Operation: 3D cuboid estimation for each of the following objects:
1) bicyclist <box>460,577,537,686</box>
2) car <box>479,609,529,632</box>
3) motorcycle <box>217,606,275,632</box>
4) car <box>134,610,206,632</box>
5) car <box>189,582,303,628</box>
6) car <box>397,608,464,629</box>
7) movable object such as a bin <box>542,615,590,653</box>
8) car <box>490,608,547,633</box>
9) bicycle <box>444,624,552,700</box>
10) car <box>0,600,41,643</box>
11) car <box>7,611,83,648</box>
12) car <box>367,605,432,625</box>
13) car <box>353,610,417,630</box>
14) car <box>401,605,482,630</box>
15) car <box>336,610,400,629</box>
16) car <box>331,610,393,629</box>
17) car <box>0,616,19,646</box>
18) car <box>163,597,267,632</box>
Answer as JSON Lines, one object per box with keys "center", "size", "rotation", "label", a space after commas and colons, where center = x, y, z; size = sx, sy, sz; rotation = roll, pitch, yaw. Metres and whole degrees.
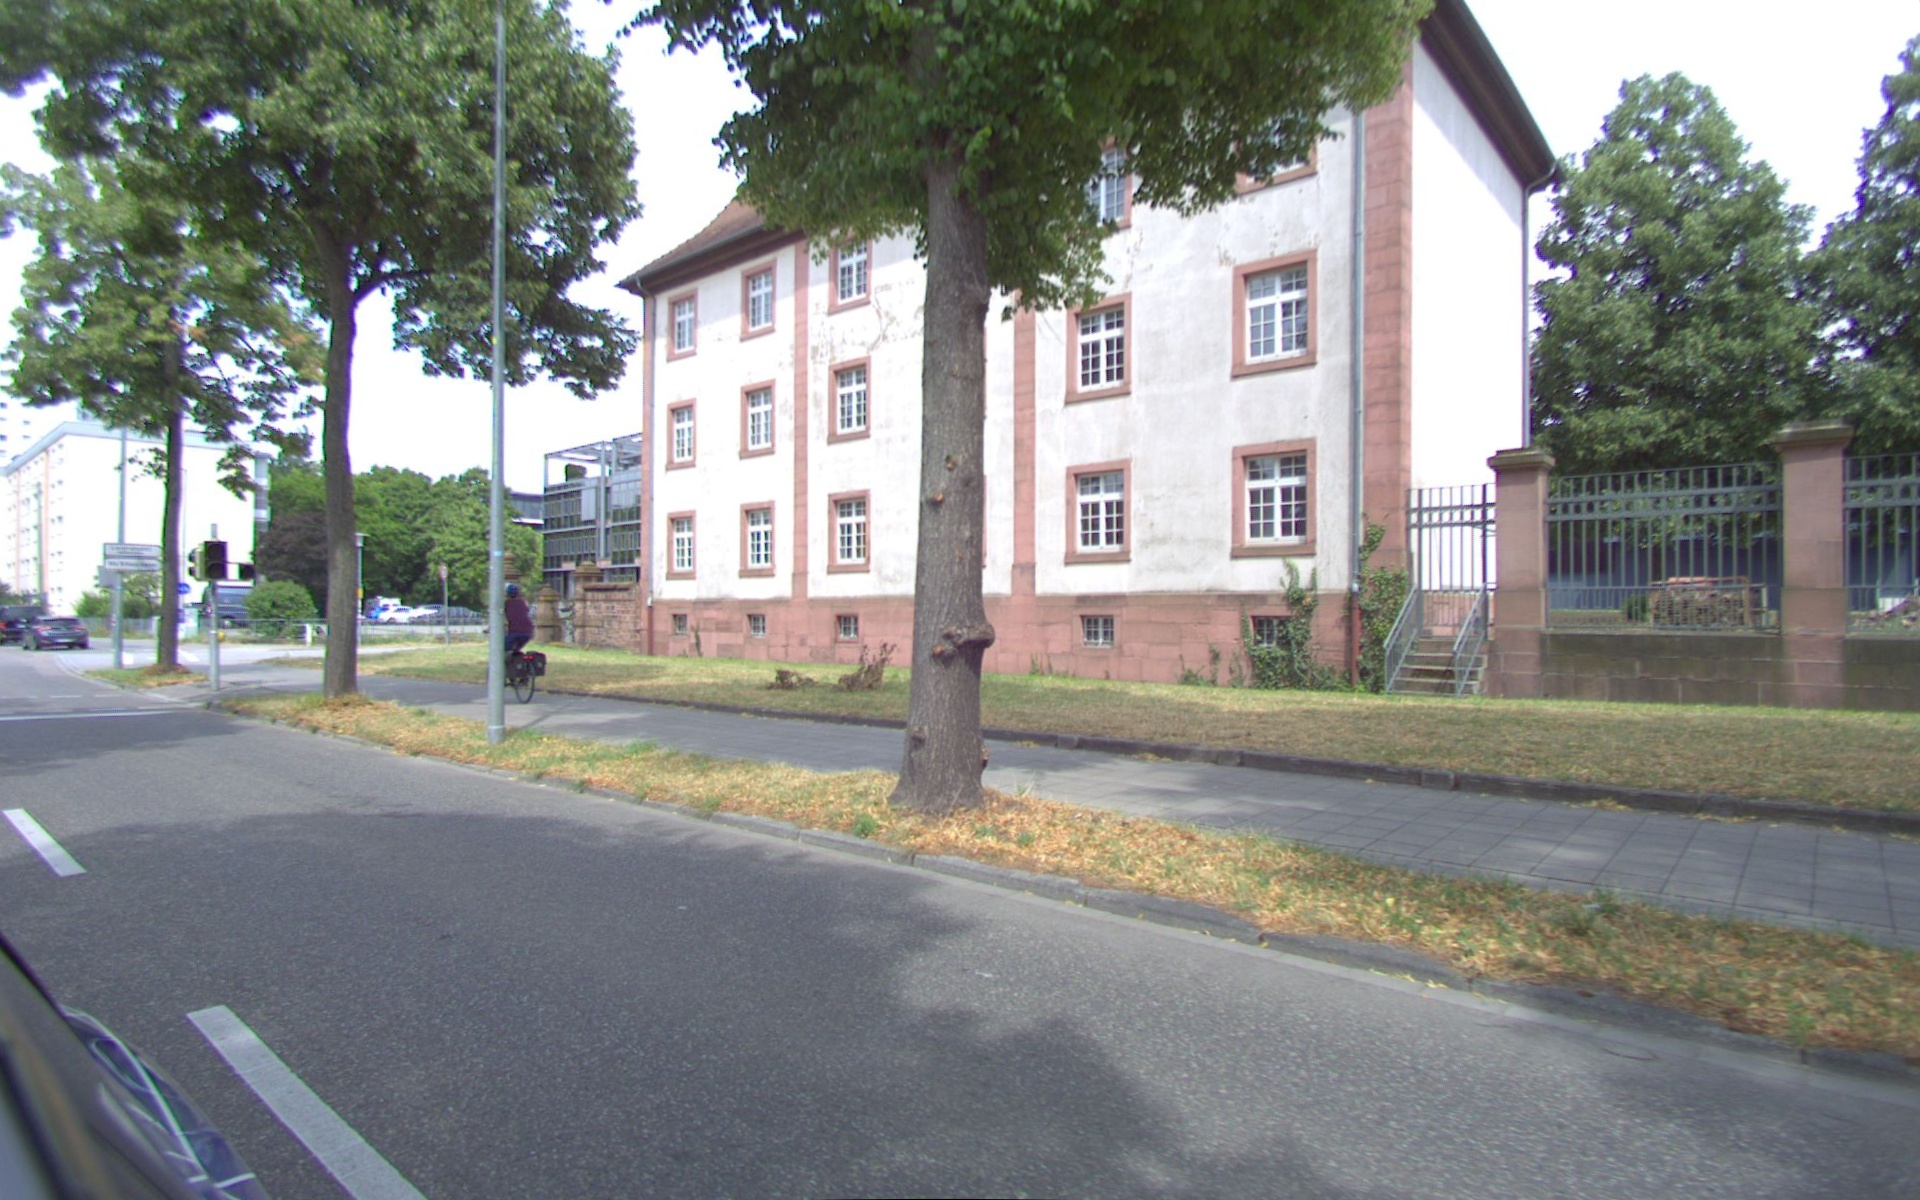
{"center": [-7.404, 0.488, 16.227], "size": [0.958, 1.668, 0.715], "rotation": [-1, 2, 41], "label": "bicyclist"}
{"center": [-40.855, 1.855, 90.730], "size": [3.670, 2.029, 1.972], "rotation": [2, -3, -44], "label": "car"}
{"center": [-33.248, 0.898, 47.155], "size": [0.725, 1.151, 2.066], "rotation": [-1, -3, 45], "label": "motorcycle"}
{"center": [-57.006, 1.491, 73.060], "size": [3.940, 1.494, 2.002], "rotation": [1, -1, -44], "label": "car"}
{"center": [-43.403, 0.261, 61.624], "size": [2.354, 2.571, 5.254], "rotation": [-1, 1, 42], "label": "car"}
{"center": [-38.934, 1.323, 74.465], "size": [1.616, 1.494, 4.112], "rotation": [0, -1, 40], "label": "car"}
{"center": [-15.518, 1.319, 39.834], "size": [1.570, 1.479, 1.188], "rotation": [-1, -1, 42], "label": "movable object such as a bin"}
{"center": [-38.498, 1.795, 88.306], "size": [1.969, 2.153, 4.175], "rotation": [-1, -2, 39], "label": "car"}
{"center": [-7.485, 0.971, 16.348], "size": [2.150, 1.103, 0.715], "rotation": [-1, 2, 41], "label": "bicycle"}
{"center": [-47.678, 1.084, 50.614], "size": [4.840, 2.019, 1.929], "rotation": [-1, 0, 40], "label": "car"}
{"center": [-39.736, 1.259, 43.930], "size": [4.293, 1.484, 1.804], "rotation": [-1, 1, 39], "label": "car"}
{"center": [-42.858, 1.107, 77.478], "size": [1.969, 1.494, 3.946], "rotation": [0, -1, 40], "label": "car"}
{"center": [-44.913, 1.523, 79.052], "size": [1.856, 1.494, 3.946], "rotation": [0, -1, 40], "label": "car"}
{"center": [-37.173, 1.256, 72.637], "size": [2.330, 1.677, 4.641], "rotation": [-1, -3, 42], "label": "car"}
{"center": [-47.183, 1.529, 80.700], "size": [1.982, 1.494, 3.946], "rotation": [0, -1, 40], "label": "car"}
{"center": [-48.777, 1.561, 82.555], "size": [1.982, 1.494, 3.946], "rotation": [0, -1, 40], "label": "car"}
{"center": [-51.804, 1.661, 54.112], "size": [3.760, 1.541, 1.638], "rotation": [-1, -1, 39], "label": "car"}
{"center": [-47.736, 0.982, 64.914], "size": [2.228, 2.166, 5.029], "rotation": [-2, -2, 43], "label": "car"}
